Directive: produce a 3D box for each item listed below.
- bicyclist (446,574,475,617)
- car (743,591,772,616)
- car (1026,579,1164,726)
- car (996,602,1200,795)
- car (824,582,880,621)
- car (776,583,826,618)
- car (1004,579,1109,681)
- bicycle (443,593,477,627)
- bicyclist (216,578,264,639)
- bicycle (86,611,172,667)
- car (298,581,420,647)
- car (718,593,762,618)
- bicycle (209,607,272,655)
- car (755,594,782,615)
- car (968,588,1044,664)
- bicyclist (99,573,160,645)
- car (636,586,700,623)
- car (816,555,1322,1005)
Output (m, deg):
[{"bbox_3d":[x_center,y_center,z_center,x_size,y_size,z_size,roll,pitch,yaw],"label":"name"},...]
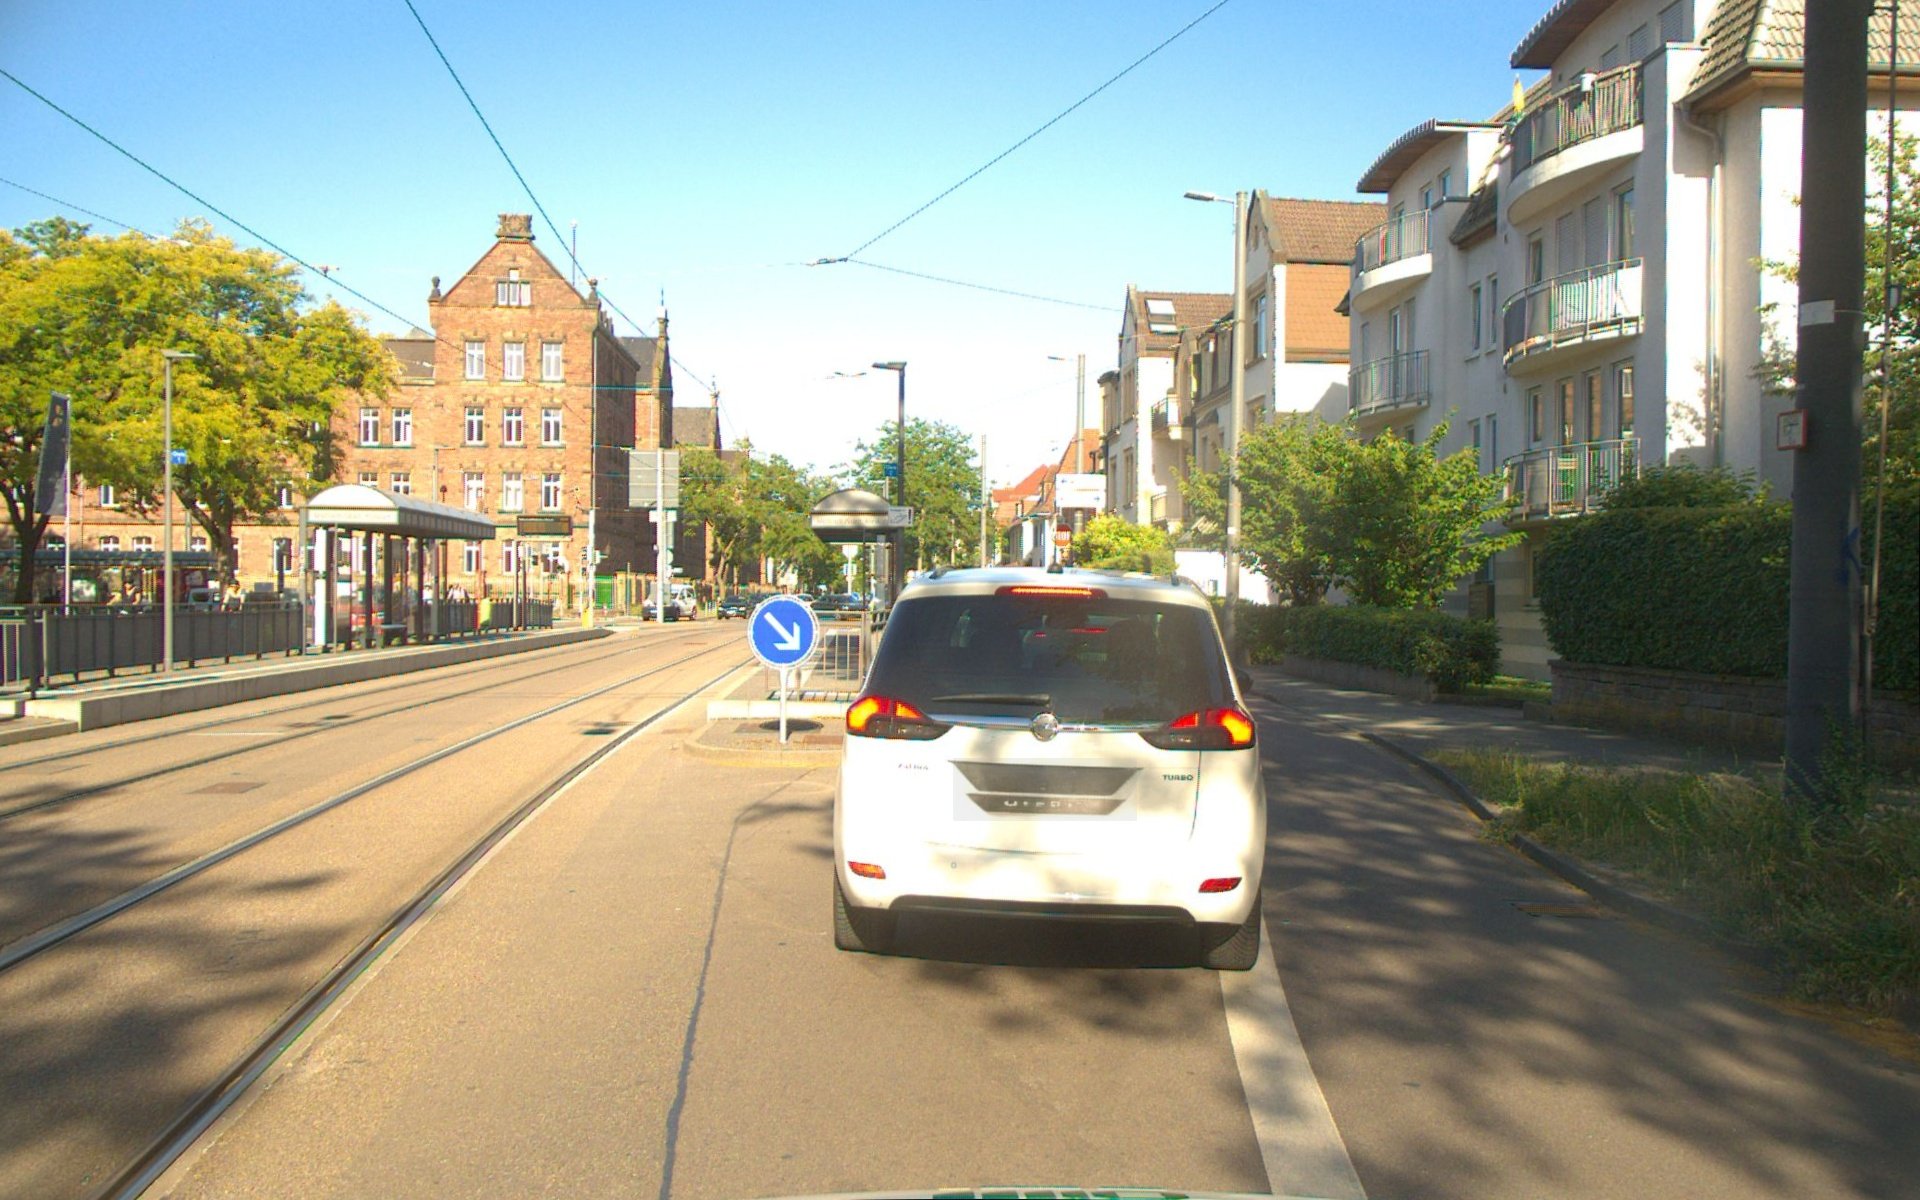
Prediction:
[{"bbox_3d":[-18.427,-0.171,60.995,0.745,1.563,1.347,0,0,-5],"label":"bicyclist"},{"bbox_3d":[-13.567,0.236,110.975,1.792,1.645,4.321,1,-1,-6],"label":"car"},{"bbox_3d":[1.719,0.595,21.048,1.536,1.643,3.786,2,0,5],"label":"car"},{"bbox_3d":[1.230,0.768,14.789,1.536,1.426,3.786,2,0,5],"label":"car"},{"bbox_3d":[-5.829,0.047,89.153,1.964,2.049,3.976,0,0,-20],"label":"car"},{"bbox_3d":[-9.327,0.023,96.877,1.964,2.049,3.976,0,0,-20],"label":"car"},{"bbox_3d":[1.680,0.494,29.858,1.563,1.663,3.900,2,0,-1],"label":"car"},{"bbox_3d":[-18.418,0.359,60.965,0.761,1.252,2.087,0,0,-4],"label":"bicycle"},{"bbox_3d":[-17.806,0.214,40.941,0.639,1.485,1.152,0,0,2],"label":"bicyclist"},{"bbox_3d":[-17.436,0.801,34.746,0.670,1.108,2.064,0,0,3],"label":"bicycle"},{"bbox_3d":[-15.716,0.350,43.450,1.781,1.635,4.357,0,0,-3],"label":"car"},{"bbox_3d":[-12.952,0.284,97.750,1.760,1.406,4.497,0,1,3],"label":"car"},{"bbox_3d":[-17.800,0.786,40.958,0.670,1.108,1.855,-3,-3,1],"label":"bicycle"},{"bbox_3d":[-13.841,0.356,119.847,1.791,1.471,4.323,1,-1,-4],"label":"car"},{"bbox_3d":[1.052,0.590,39.322,1.563,1.663,3.900,2,0,-1],"label":"car"},{"bbox_3d":[-17.436,0.182,34.745,0.639,1.485,1.153,0,0,4],"label":"bicyclist"},{"bbox_3d":[-14.745,0.218,83.807,1.788,1.819,4.259,0,0,11],"label":"car"},{"bbox_3d":[0.554,0.644,8.085,1.838,1.613,4.002,1,0,5],"label":"car"}]
